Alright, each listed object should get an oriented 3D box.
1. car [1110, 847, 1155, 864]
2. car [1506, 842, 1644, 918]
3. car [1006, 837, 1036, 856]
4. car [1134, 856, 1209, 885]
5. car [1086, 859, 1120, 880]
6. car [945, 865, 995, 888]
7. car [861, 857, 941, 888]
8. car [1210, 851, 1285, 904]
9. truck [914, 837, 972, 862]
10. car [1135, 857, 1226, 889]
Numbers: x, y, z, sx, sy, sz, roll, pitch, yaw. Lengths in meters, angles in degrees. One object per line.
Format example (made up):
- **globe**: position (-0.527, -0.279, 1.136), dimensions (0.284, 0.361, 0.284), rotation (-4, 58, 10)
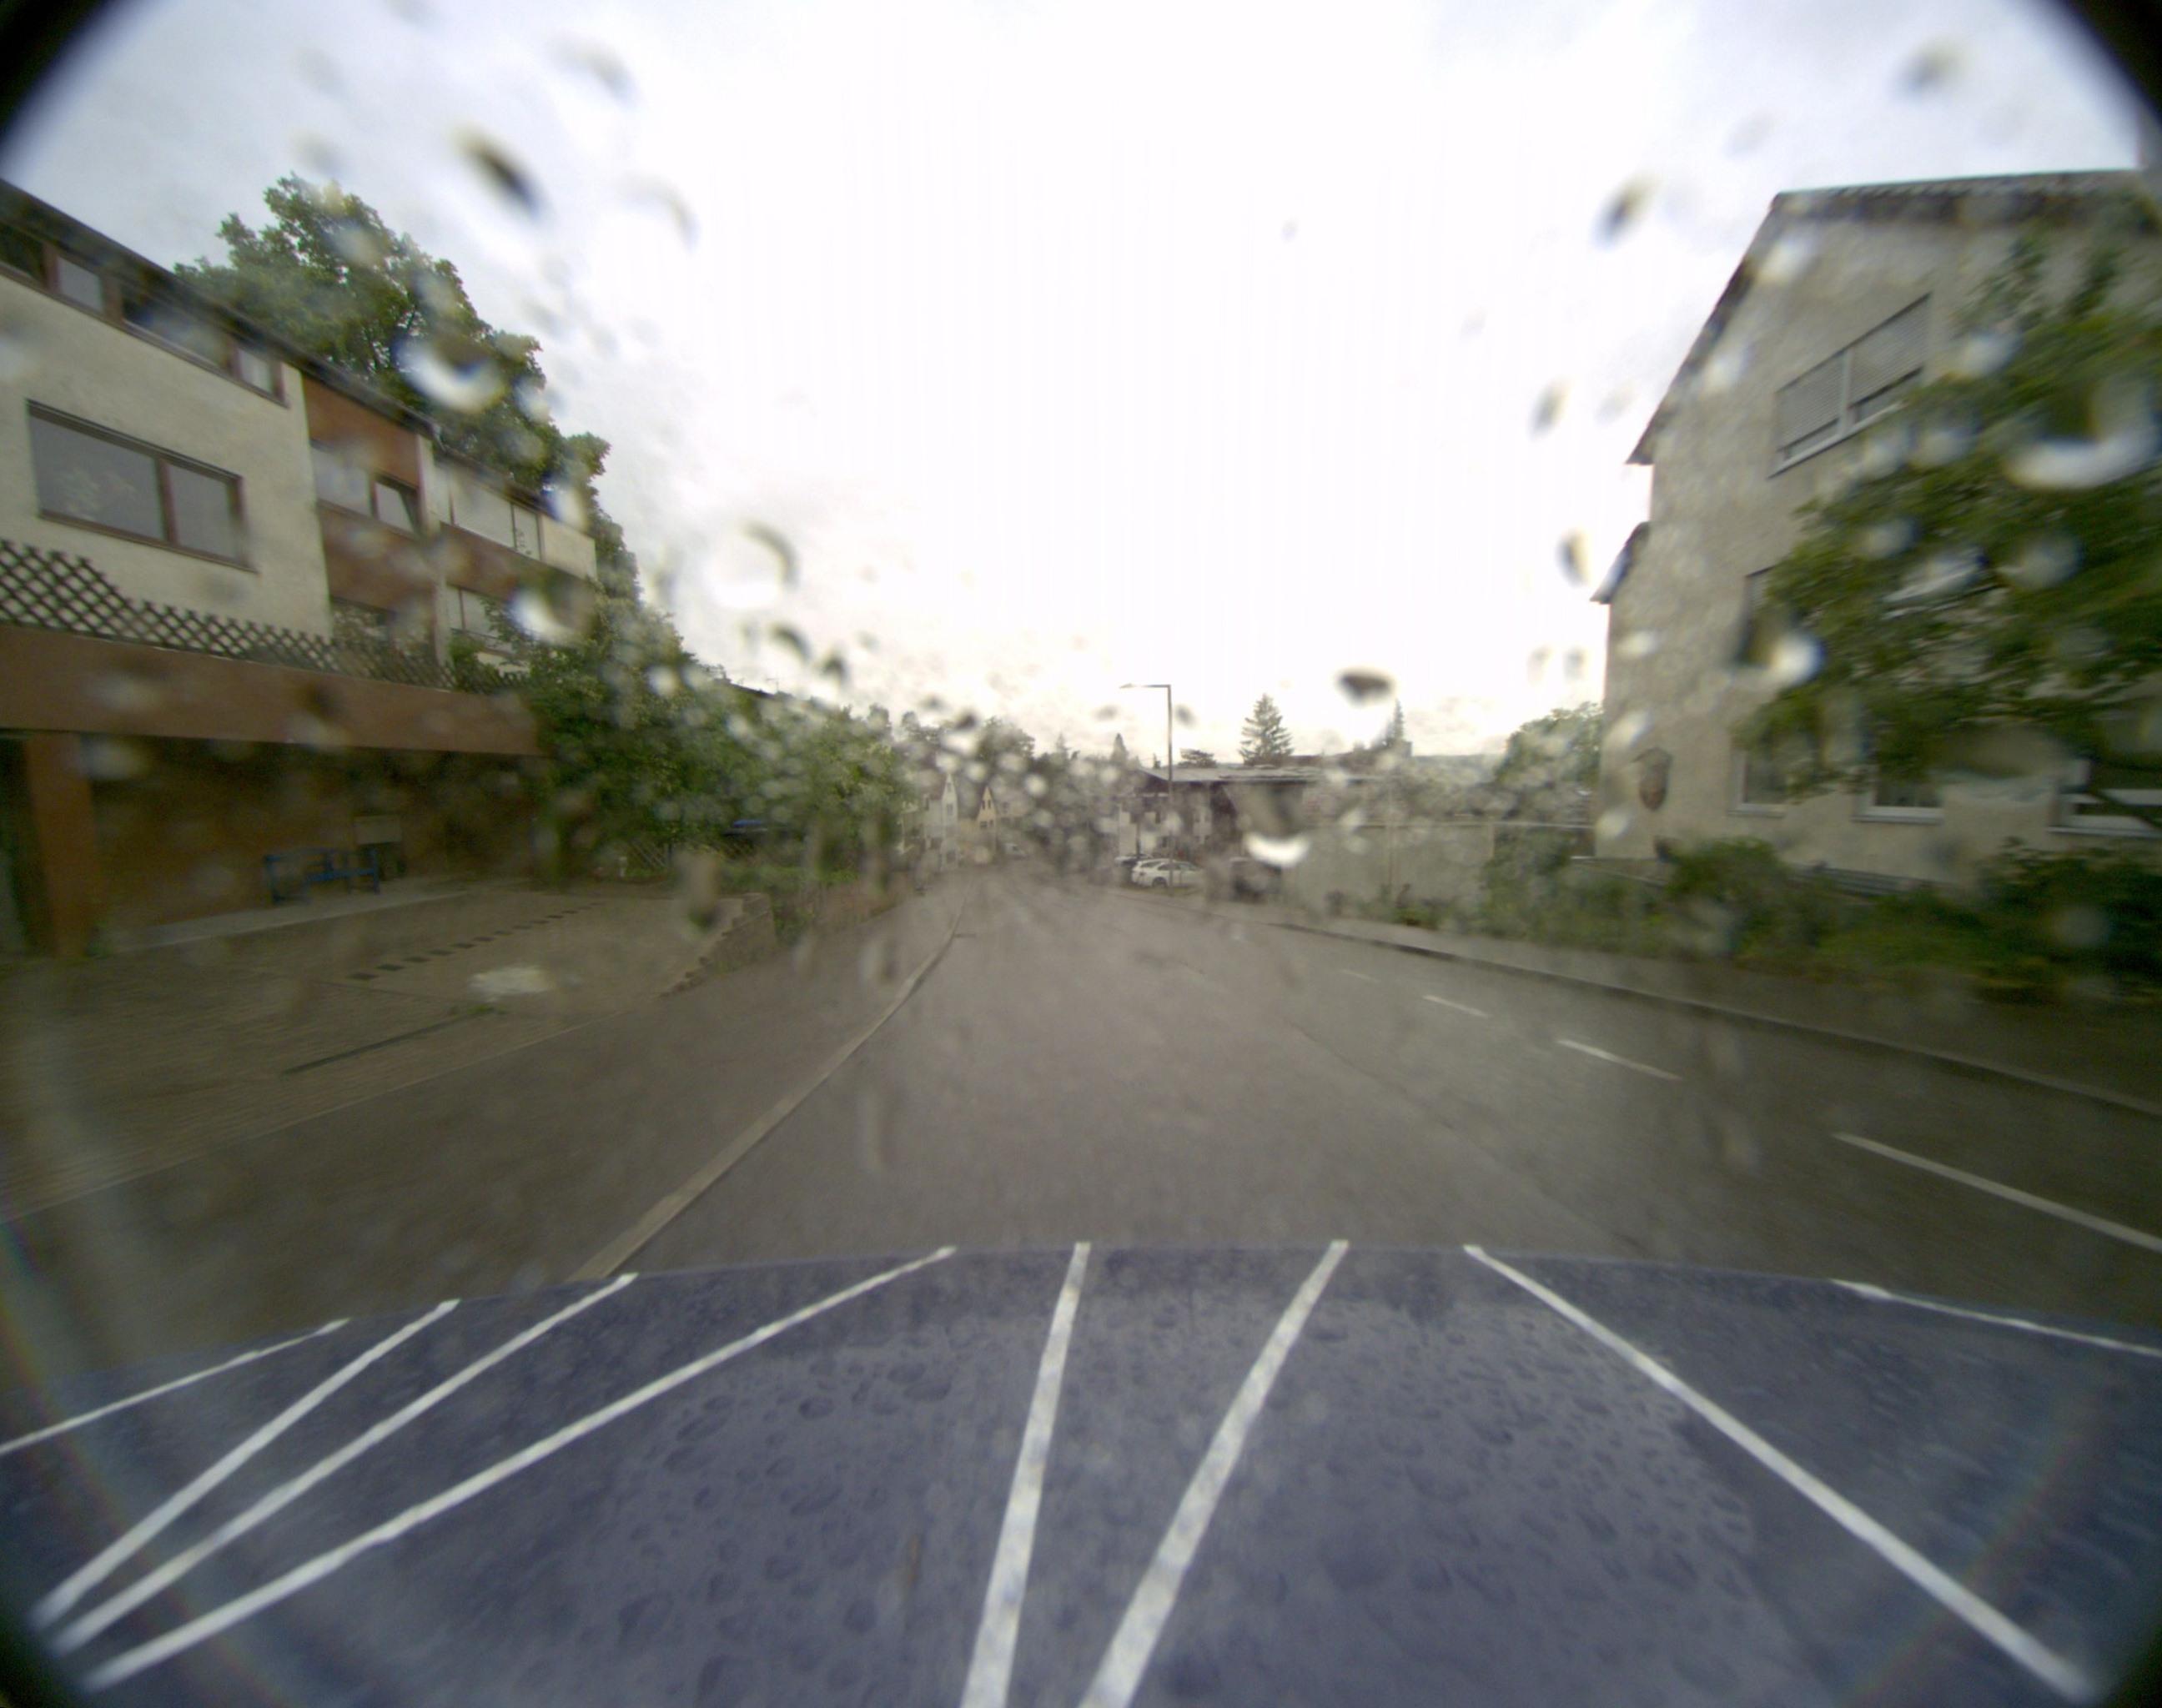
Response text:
- **car**: position (4.899, 0.126, 72.898), dimensions (3.999, 1.500, 1.801), rotation (-1, 3, -7)
- **car**: position (15.961, 0.748, 24.852), dimensions (1.971, 1.991, 4.108), rotation (2, 4, 5)
- **car**: position (-9.372, -1.170, 119.000), dimensions (4.303, 2.738, 1.996), rotation (0, 5, -15)
- **car**: position (5.060, 0.926, 42.405), dimensions (3.993, 1.496, 1.902), rotation (-1, 0, 11)
- **car**: position (1.542, 1.085, 55.510), dimensions (1.900, 1.433, 4.443), rotation (0, 0, -6)
- **car**: position (-8.839, 1.809, 60.829), dimensions (1.783, 1.569, 4.073), rotation (-3, 1, 31)
- **car**: position (-11.446, 1.167, 48.585), dimensions (4.722, 1.809, 1.998), rotation (-1, 0, -8)
- **car**: position (5.785, 0.749, 26.943), dimensions (1.978, 1.649, 4.964), rotation (-1, 0, 6)
- **truck**: position (-17.912, -0.617, 98.907), dimensions (6.969, 2.688, 2.141), rotation (4, 2, 7)
- **car**: position (5.054, 0.954, 39.128), dimensions (4.506, 1.496, 1.901), rotation (-1, 0, 4)
